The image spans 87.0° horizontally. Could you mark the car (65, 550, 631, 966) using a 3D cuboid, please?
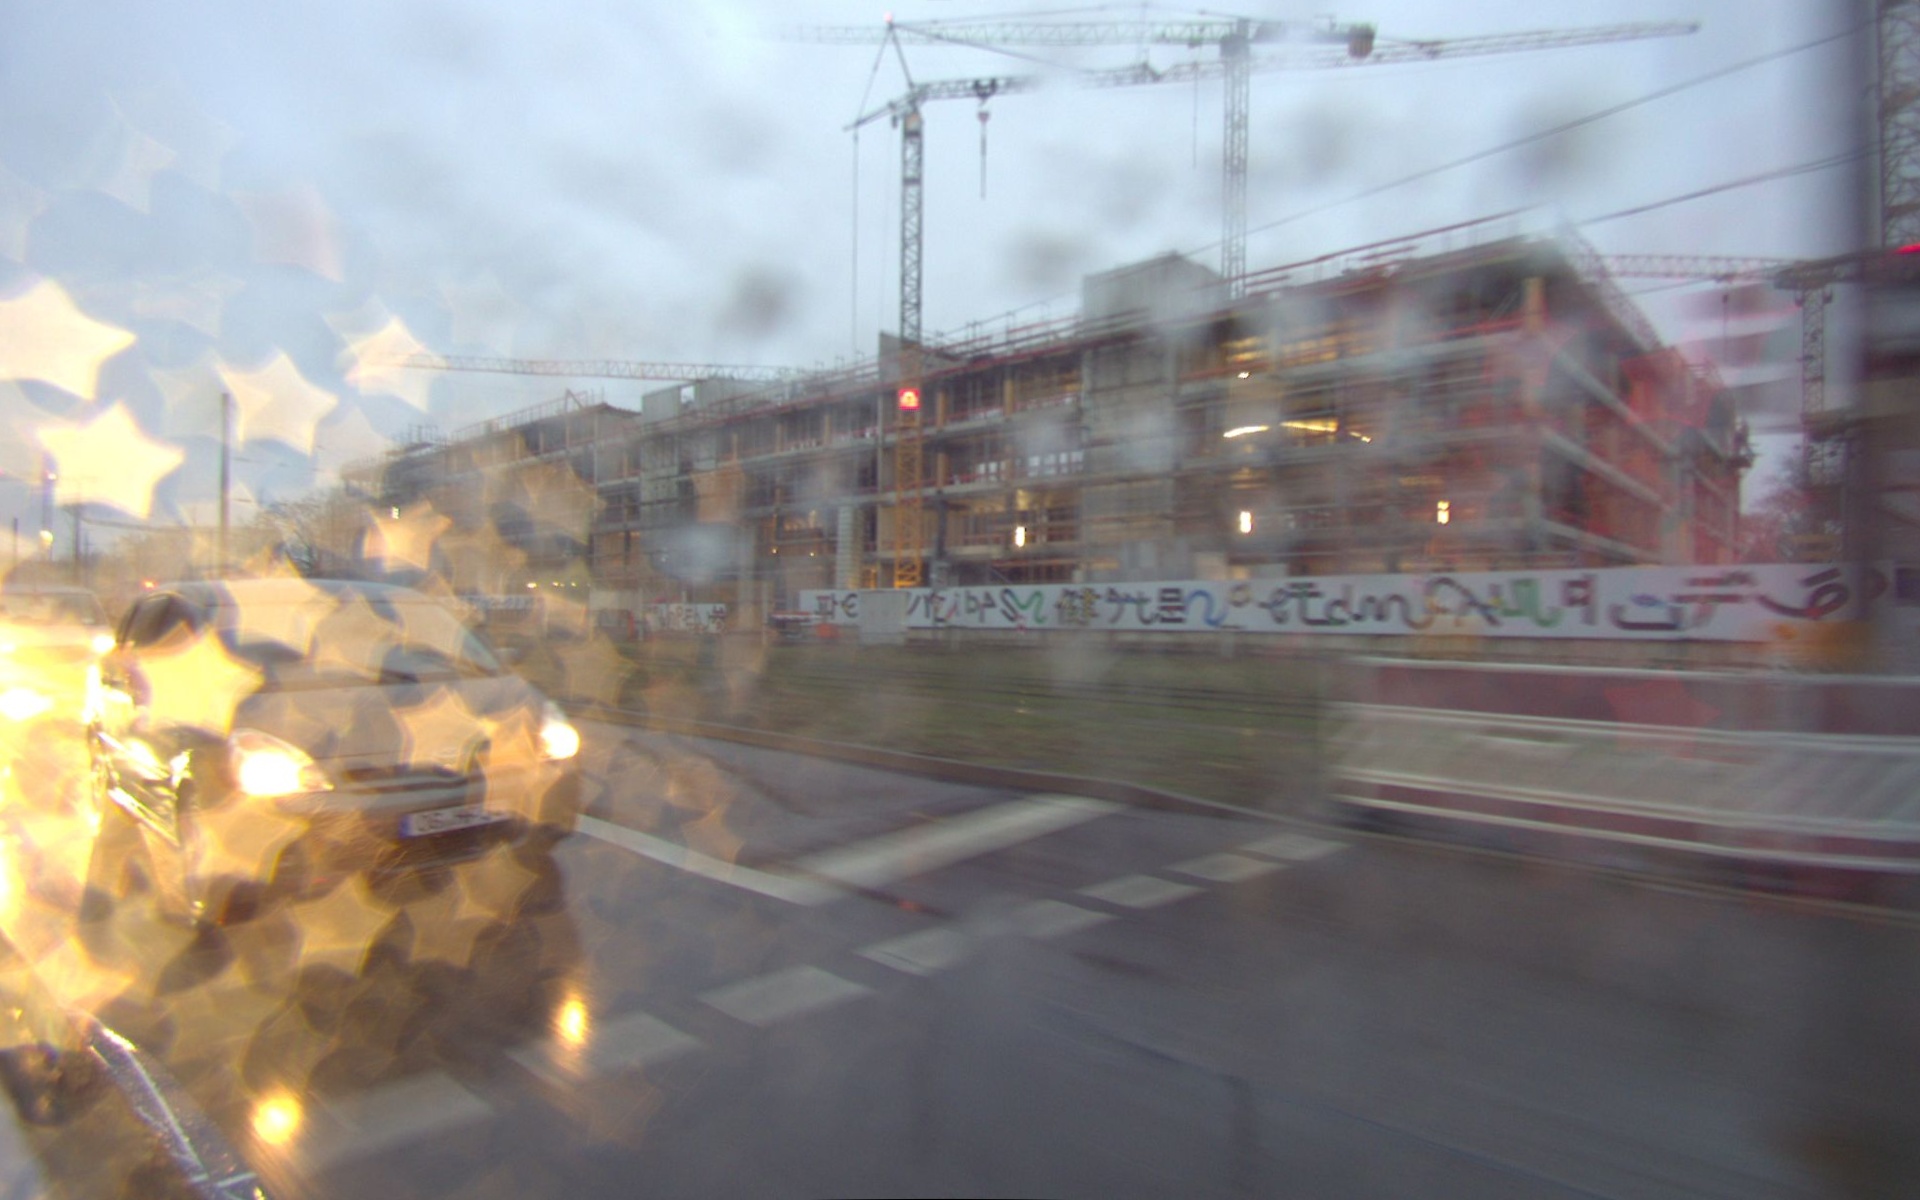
[{"bbox_3d":[-3.765,0.609,5.907,3.999,1.606,1.741,0,0,42],"label":"car"}]

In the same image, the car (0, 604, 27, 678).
[{"bbox_3d":[-23.552,0.934,23.894,4.323,1.666,1.820,0,0,42],"label":"car"}]

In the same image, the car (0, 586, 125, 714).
[{"bbox_3d":[-14.291,0.678,15.473,4.000,1.746,1.833,0,0,43],"label":"car"}]
